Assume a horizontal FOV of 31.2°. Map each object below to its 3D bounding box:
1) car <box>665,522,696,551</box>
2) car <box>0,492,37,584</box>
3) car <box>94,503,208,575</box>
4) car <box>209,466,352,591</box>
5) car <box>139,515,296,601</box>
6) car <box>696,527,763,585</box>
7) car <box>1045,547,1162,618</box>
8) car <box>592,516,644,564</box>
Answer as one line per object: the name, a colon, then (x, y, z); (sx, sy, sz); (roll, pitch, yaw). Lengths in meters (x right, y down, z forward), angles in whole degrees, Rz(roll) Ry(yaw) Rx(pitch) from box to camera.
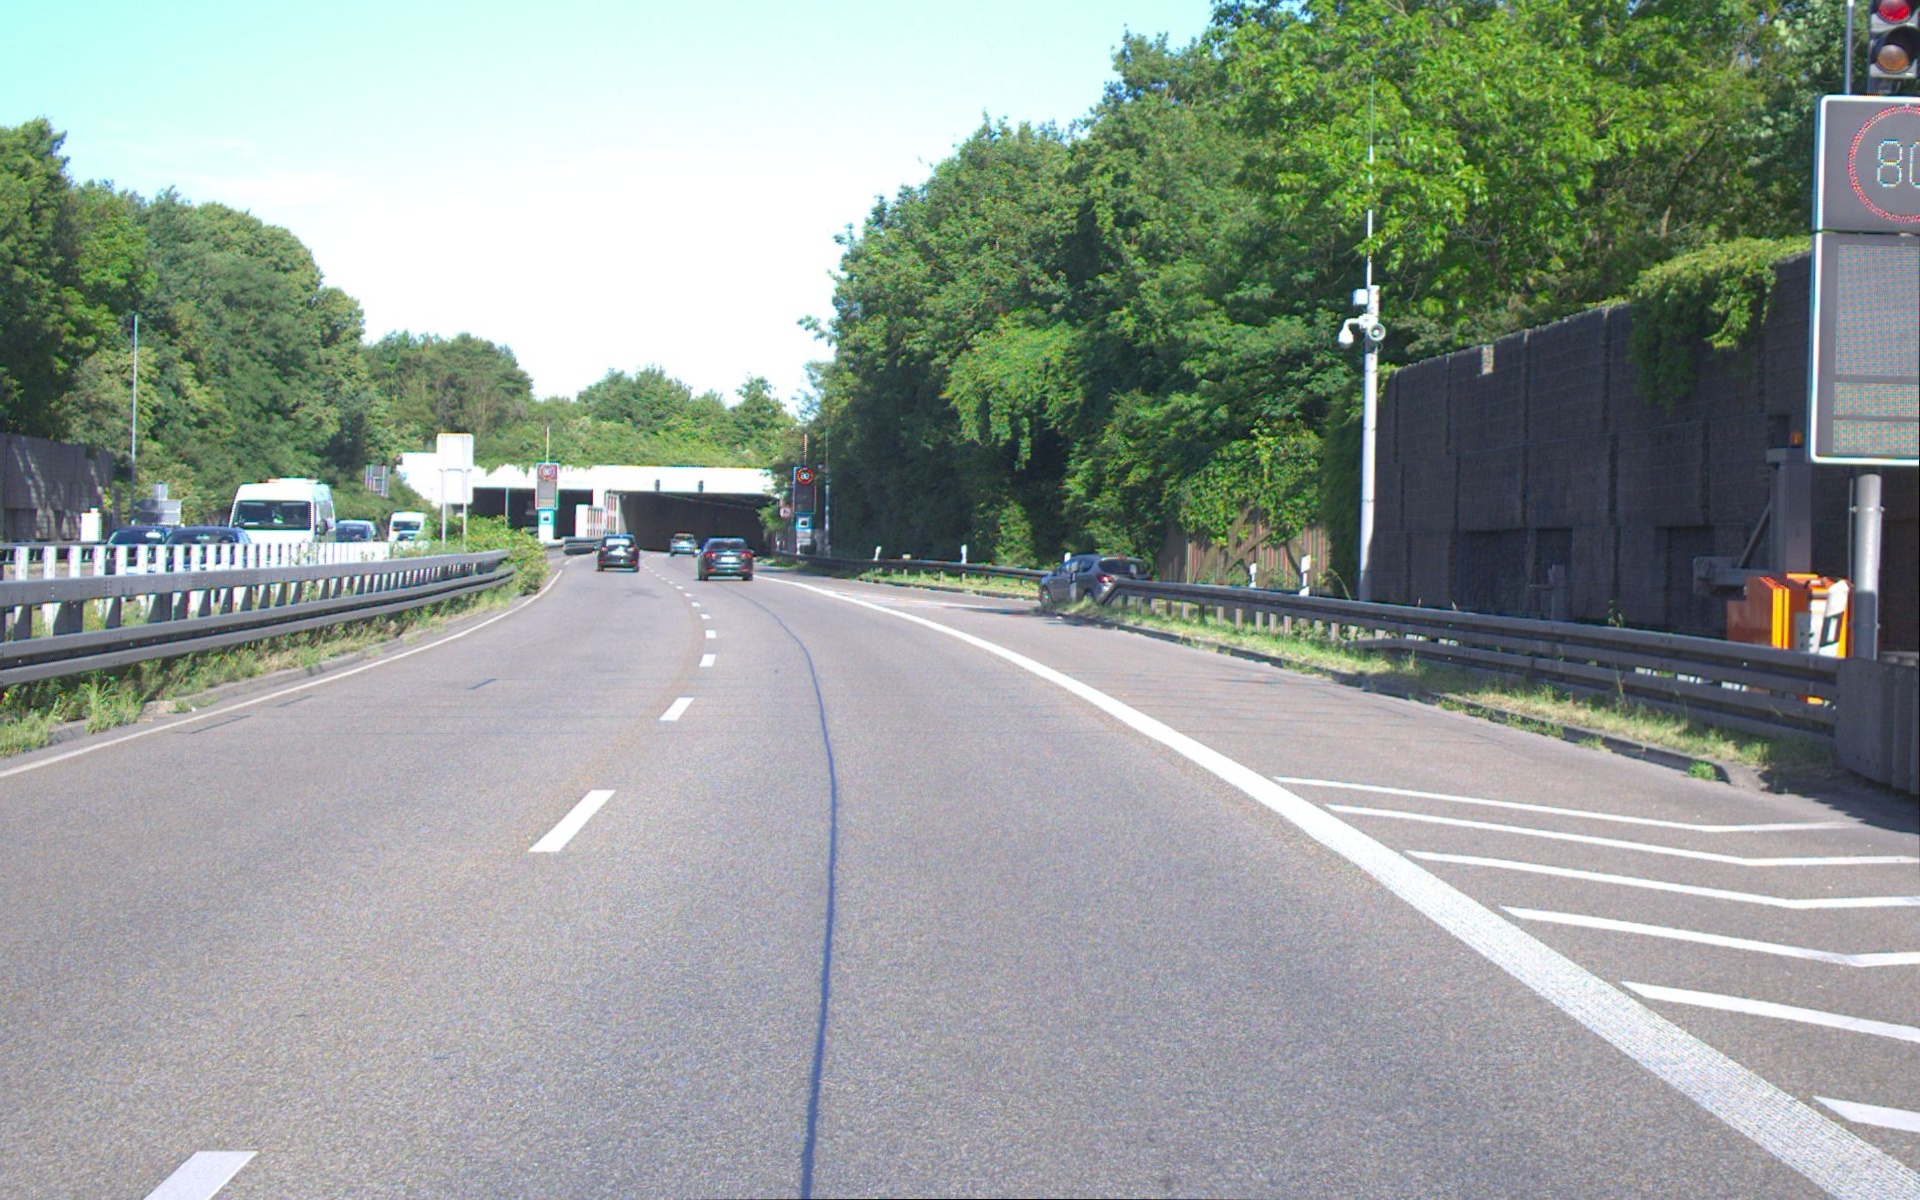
car: (-20.067, -4.564, 246.435); (1.993, 1.919, 4.001); (2, 1, -7)
car: (-18.028, -1.140, 61.268); (1.993, 1.590, 4.622); (3, 2, -2)
car: (-20.094, -1.541, 85.543); (1.901, 1.614, 4.697); (3, 2, -4)
car: (-15.720, -1.691, 79.900); (2.121, 2.674, 6.589); (3, 2, -2)
car: (-14.048, -0.825, 65.301); (1.993, 1.429, 5.090); (3, 2, -2)
car: (-8.036, -1.545, 119.558); (1.993, 1.919, 4.001); (2, 1, -7)
car: (3.562, -0.466, 86.042); (1.666, 1.546, 4.002); (3, 2, -16)
car: (-14.434, -2.539, 144.925); (1.993, 1.919, 4.001); (2, 1, -7)
